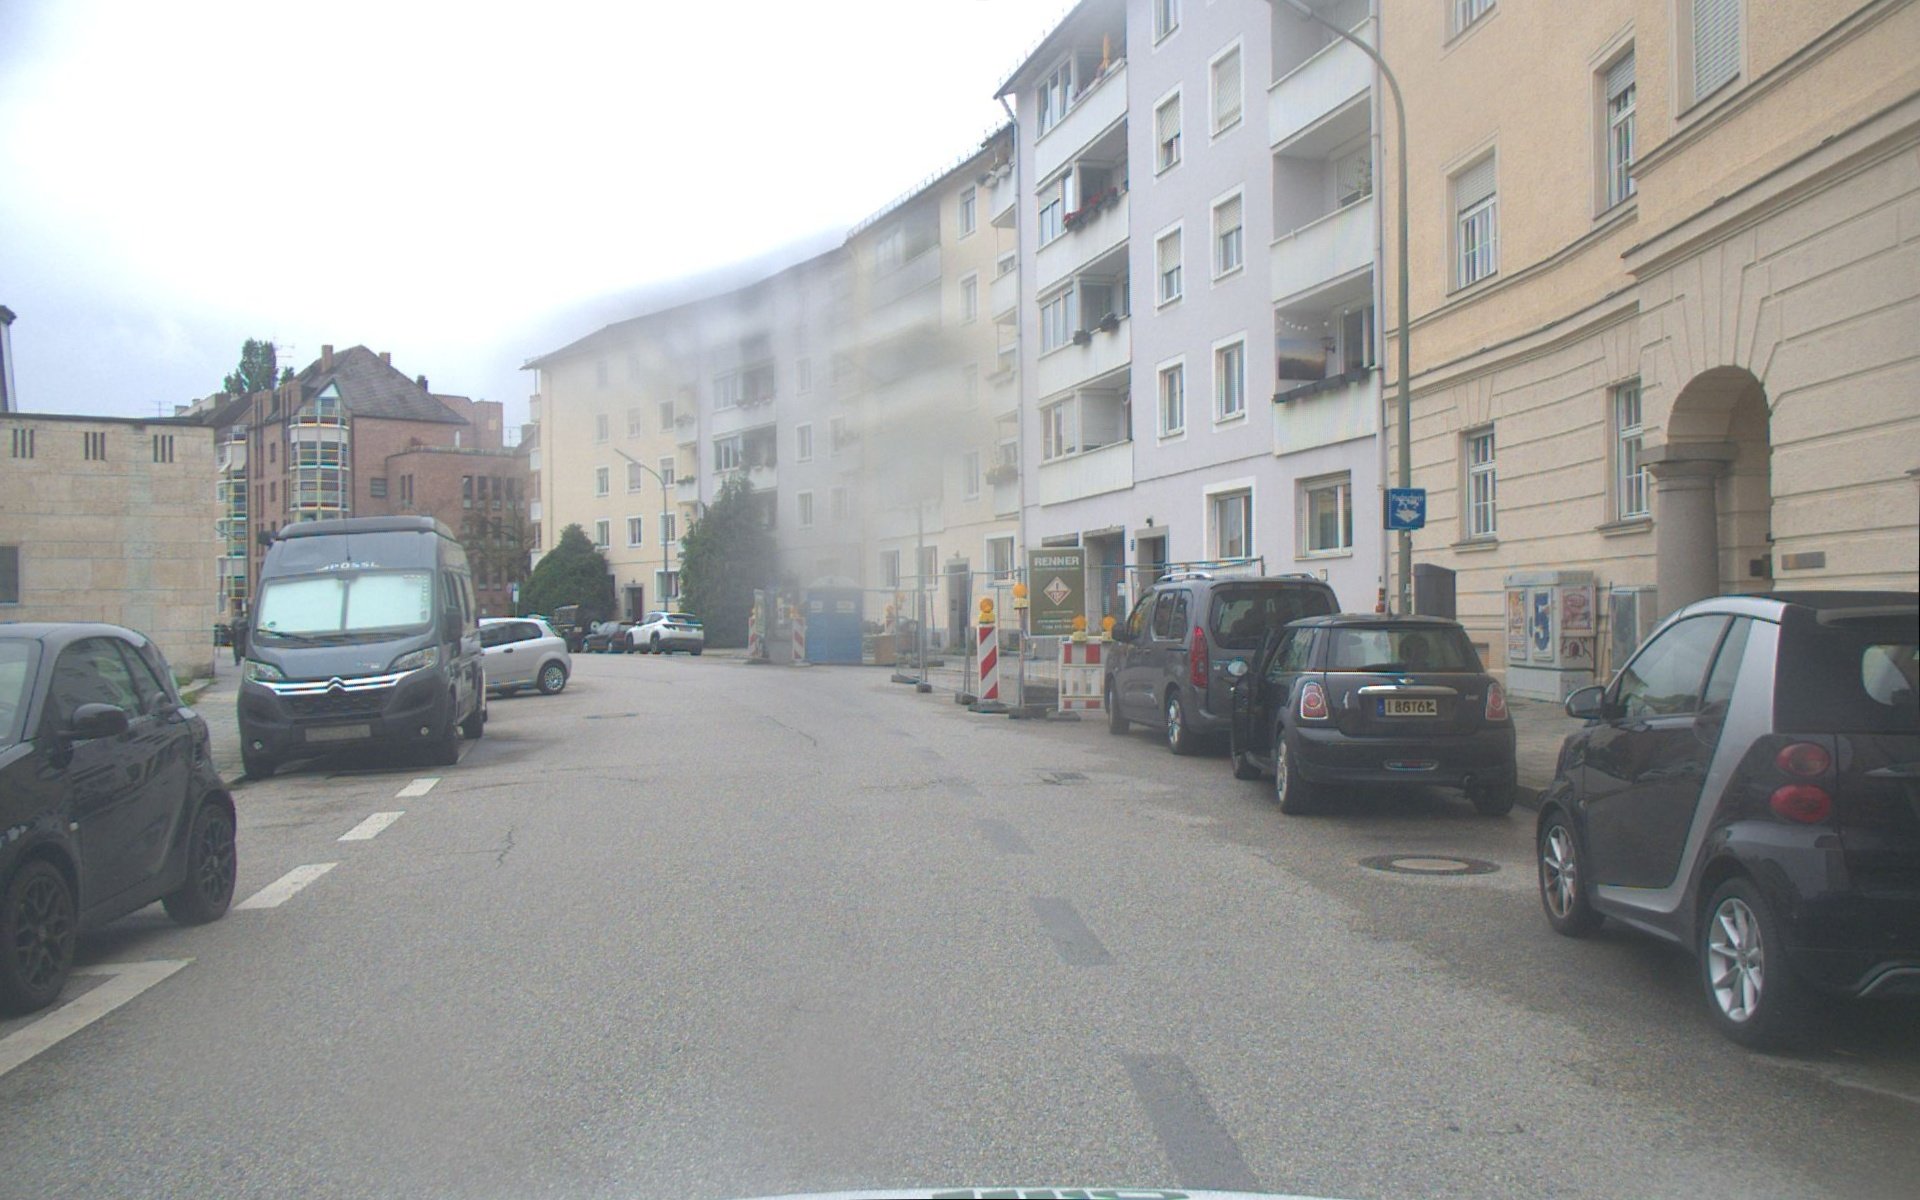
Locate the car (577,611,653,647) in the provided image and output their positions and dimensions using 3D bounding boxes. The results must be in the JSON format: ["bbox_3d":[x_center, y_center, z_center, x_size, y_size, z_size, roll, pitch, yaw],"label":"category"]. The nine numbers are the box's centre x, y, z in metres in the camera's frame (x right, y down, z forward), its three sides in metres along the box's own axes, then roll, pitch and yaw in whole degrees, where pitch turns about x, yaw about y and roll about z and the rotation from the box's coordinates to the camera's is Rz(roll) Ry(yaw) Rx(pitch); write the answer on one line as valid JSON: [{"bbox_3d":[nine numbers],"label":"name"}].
[{"bbox_3d":[-14.156,1.208,67.836,1.646,1.373,3.754,2,-3,-36],"label":"car"}]

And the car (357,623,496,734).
[{"bbox_3d":[-8.213,1.136,25.581,1.799,1.411,4.121,-4,1,-17],"label":"car"}]

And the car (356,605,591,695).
[{"bbox_3d":[-9.022,0.914,30.915,1.644,1.557,3.961,0,-1,40],"label":"car"}]

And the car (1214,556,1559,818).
[{"bbox_3d":[3.217,0.622,13.221,1.799,1.760,3.730,1,-1,0],"label":"car"}]

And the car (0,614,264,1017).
[{"bbox_3d":[-4.471,0.854,7.338,1.634,1.485,2.865,-3,-1,-4],"label":"car"}]

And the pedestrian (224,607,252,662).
[{"bbox_3d":[-23.485,1.131,53.788,0.783,1.770,0.815,2,-1,-23],"label":"pedestrian"}]

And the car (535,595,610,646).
[{"bbox_3d":[-16.848,0.889,71.757,1.731,2.118,4.463,2,-1,-33],"label":"car"}]

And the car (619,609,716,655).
[{"bbox_3d":[-11.287,1.211,63.623,2.008,1.707,4.558,2,-1,-34],"label":"car"}]

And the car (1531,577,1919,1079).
[{"bbox_3d":[3.500,0.755,6.678,1.476,1.584,2.863,1,-1,2],"label":"car"}]

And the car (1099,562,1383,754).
[{"bbox_3d":[2.910,0.593,18.094,1.802,1.830,4.229,1,-1,-9],"label":"car"}]

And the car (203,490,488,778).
[{"bbox_3d":[-6.588,0.324,18.489,2.107,2.619,6.190,-2,0,-13],"label":"car"}]

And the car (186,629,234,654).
[{"bbox_3d":[-52.704,2.915,116.185,1.822,1.630,4.198,2,-1,-43],"label":"car"}]
